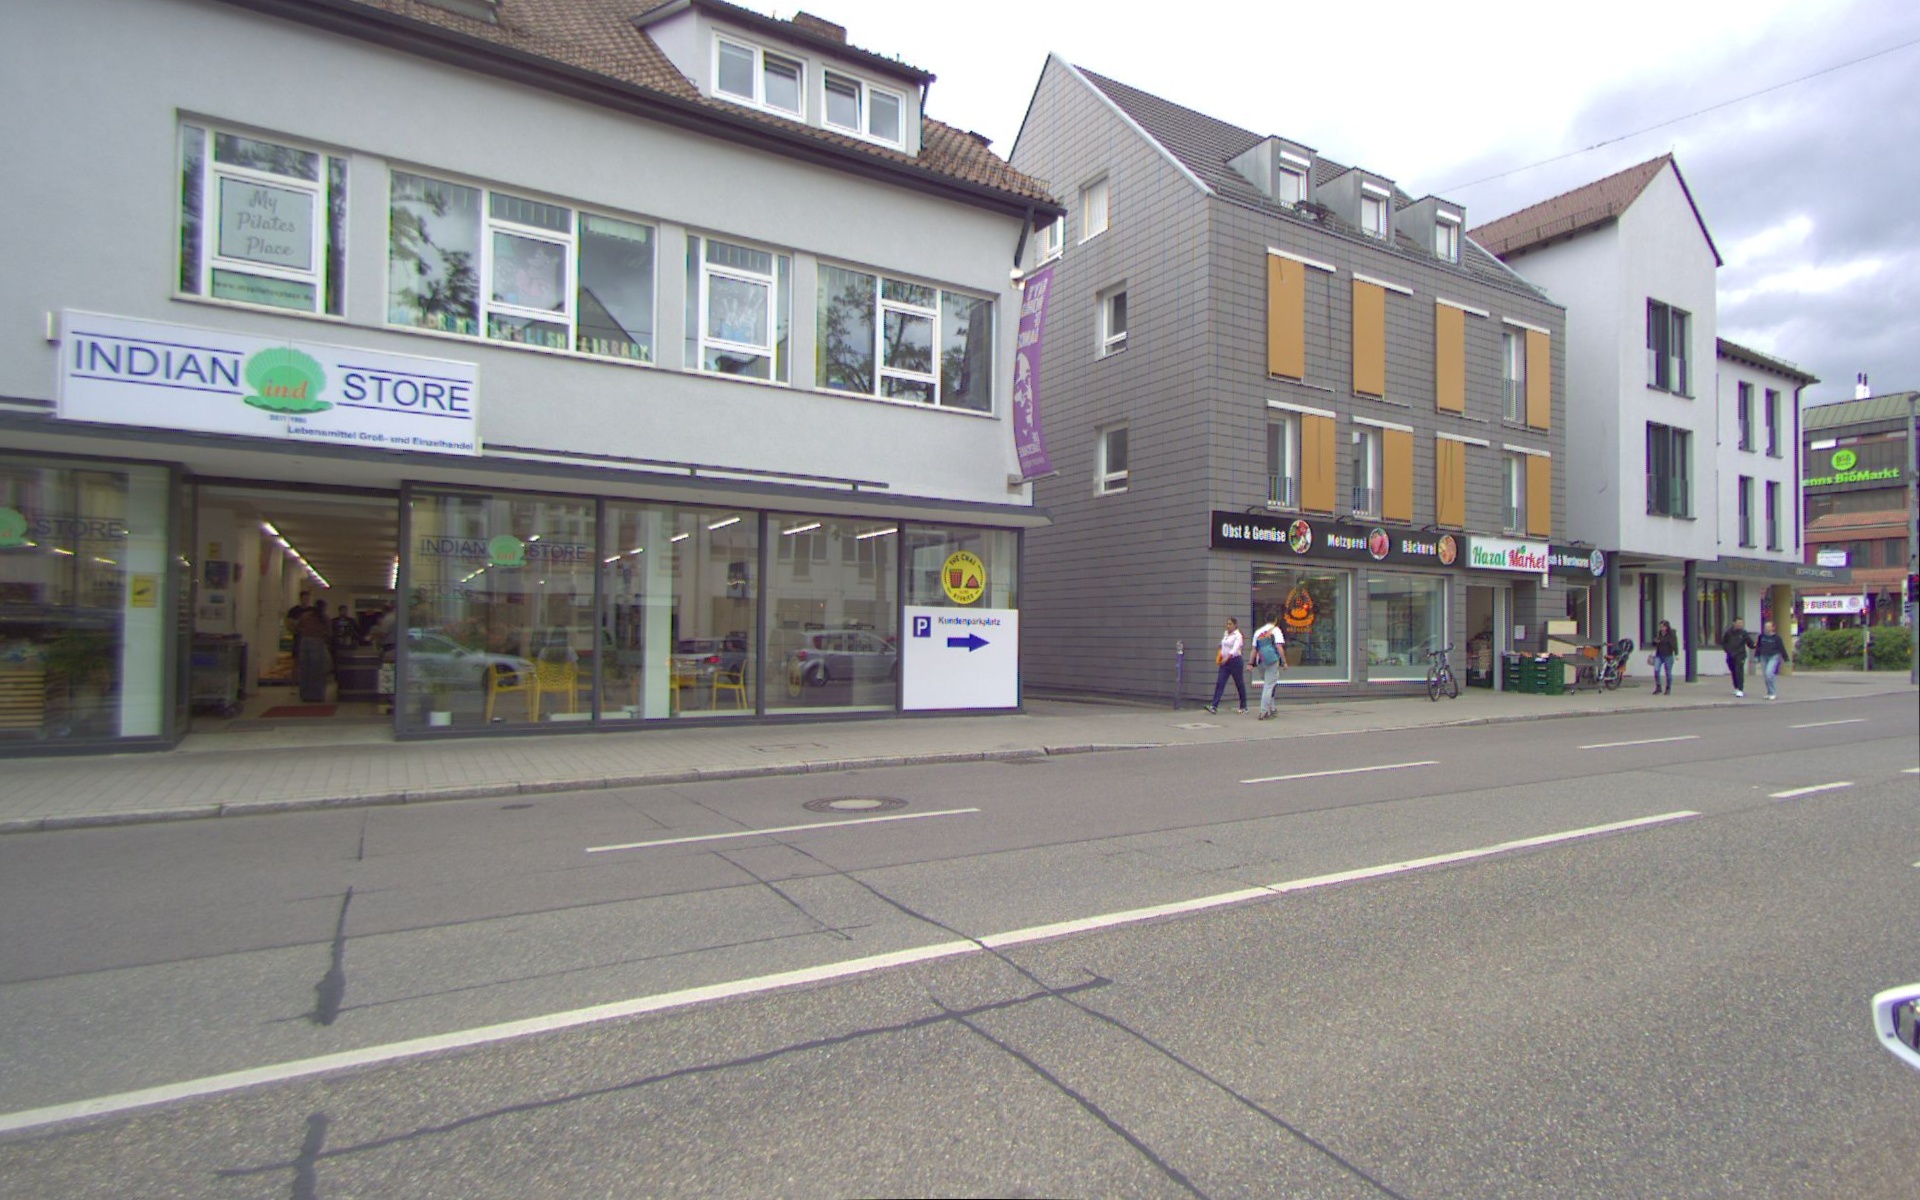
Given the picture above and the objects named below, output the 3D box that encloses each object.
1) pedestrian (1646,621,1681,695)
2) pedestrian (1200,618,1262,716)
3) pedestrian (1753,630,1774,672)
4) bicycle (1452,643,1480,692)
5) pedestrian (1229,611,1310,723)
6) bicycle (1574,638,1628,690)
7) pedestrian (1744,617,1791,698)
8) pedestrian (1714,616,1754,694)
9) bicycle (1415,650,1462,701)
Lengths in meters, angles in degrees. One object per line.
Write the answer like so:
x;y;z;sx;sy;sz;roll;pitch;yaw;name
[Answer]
16.280;1.328;23.245;0.643;1.672;0.557;-1;-1;36;pedestrian
4.631;1.124;17.166;0.744;1.631;0.725;1;-1;-30;pedestrian
32.227;2.045;40.288;0.654;1.671;0.790;-1;-1;39;pedestrian
12.249;1.625;24.336;0.380;1.142;1.290;0;-1;16;bicycle
5.020;1.063;16.320;0.969;1.728;0.750;1;2;-30;pedestrian
15.352;1.504;24.053;1.806;1.201;0.384;1;-2;-34;bicycle
18.341;1.294;22.814;0.642;1.814;0.677;1;-1;-35;pedestrian
18.225;1.286;23.662;0.640;1.799;0.565;1;-1;-32;pedestrian
9.683;1.509;20.310;1.472;0.966;0.323;2;-2;-41;bicycle
